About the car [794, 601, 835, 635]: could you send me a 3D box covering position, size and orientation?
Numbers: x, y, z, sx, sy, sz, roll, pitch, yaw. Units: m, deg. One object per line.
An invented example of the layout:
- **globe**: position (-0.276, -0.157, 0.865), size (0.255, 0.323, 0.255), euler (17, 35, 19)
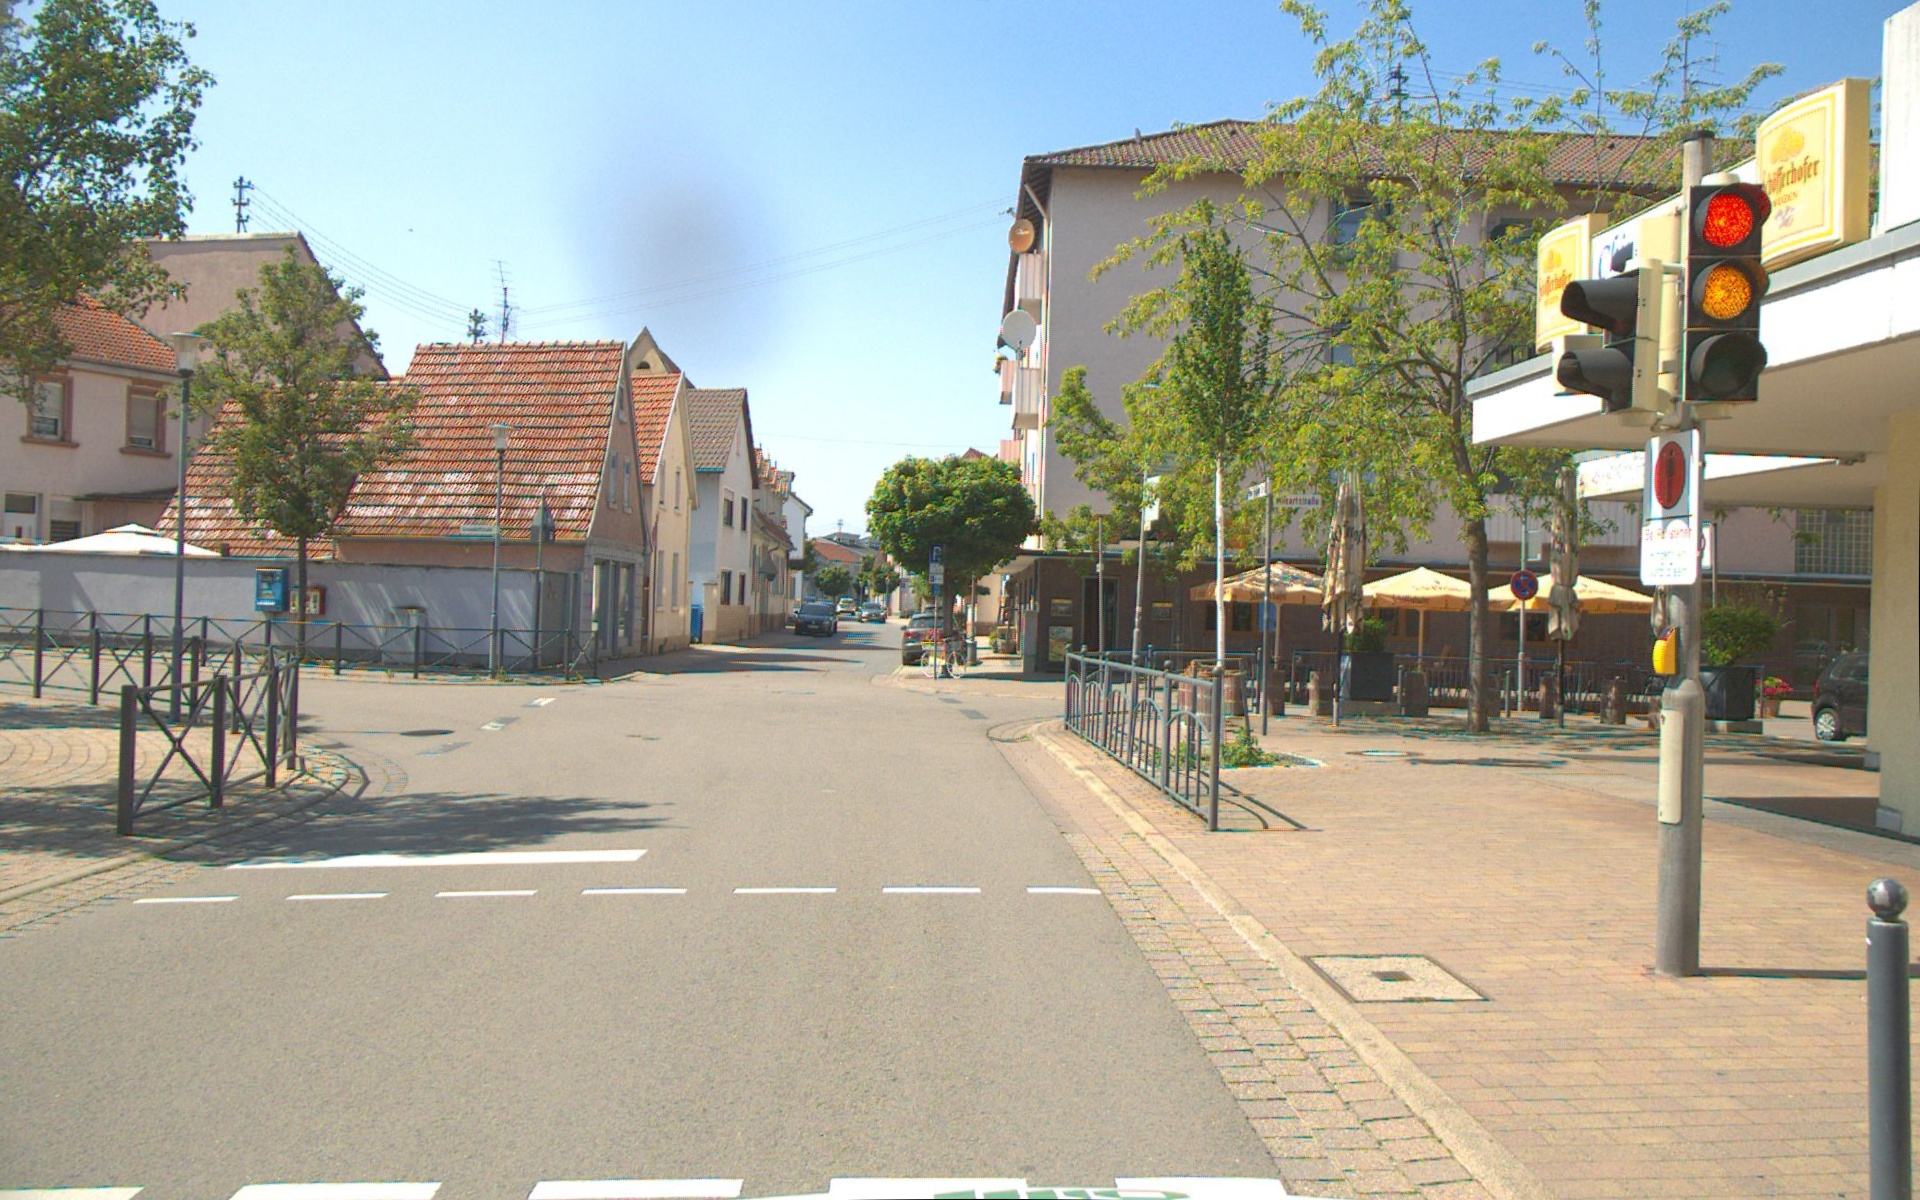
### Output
- **car**: position (-6.853, 0.835, 78.067), size (1.629, 1.502, 4.133), euler (1, 0, -1)

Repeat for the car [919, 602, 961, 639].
- **car**: position (-0.988, 0.990, 81.022), size (2.001, 1.718, 4.840), euler (1, 0, -1)

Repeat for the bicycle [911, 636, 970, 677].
- **bicycle**: position (-0.459, 1.316, 38.536), size (1.386, 0.913, 0.463), euler (0, 0, 36)

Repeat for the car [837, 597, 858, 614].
- **car**: position (-11.259, 0.561, 165.733), size (1.987, 1.626, 4.505), euler (1, 0, -4)

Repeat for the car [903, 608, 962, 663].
- **car**: position (-0.750, 0.988, 47.158), size (1.543, 1.479, 3.486), euler (1, -1, 1)

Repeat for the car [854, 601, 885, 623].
- **car**: position (-6.570, 0.878, 120.064), size (1.873, 1.507, 4.835), euler (1, -1, -8)

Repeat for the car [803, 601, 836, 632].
- **car**: position (-7.175, 0.824, 84.616), size (1.630, 1.502, 3.447), euler (1, 0, -5)

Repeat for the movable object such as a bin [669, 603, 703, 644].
- **movable object such as a bin**: position (-9.373, 0.804, 56.609), size (1.078, 1.389, 0.390), euler (1, -1, 3)

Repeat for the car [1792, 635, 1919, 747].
- **car**: position (14.056, 1.309, 23.889), size (1.733, 1.536, 3.965), euler (2, -1, -7)
